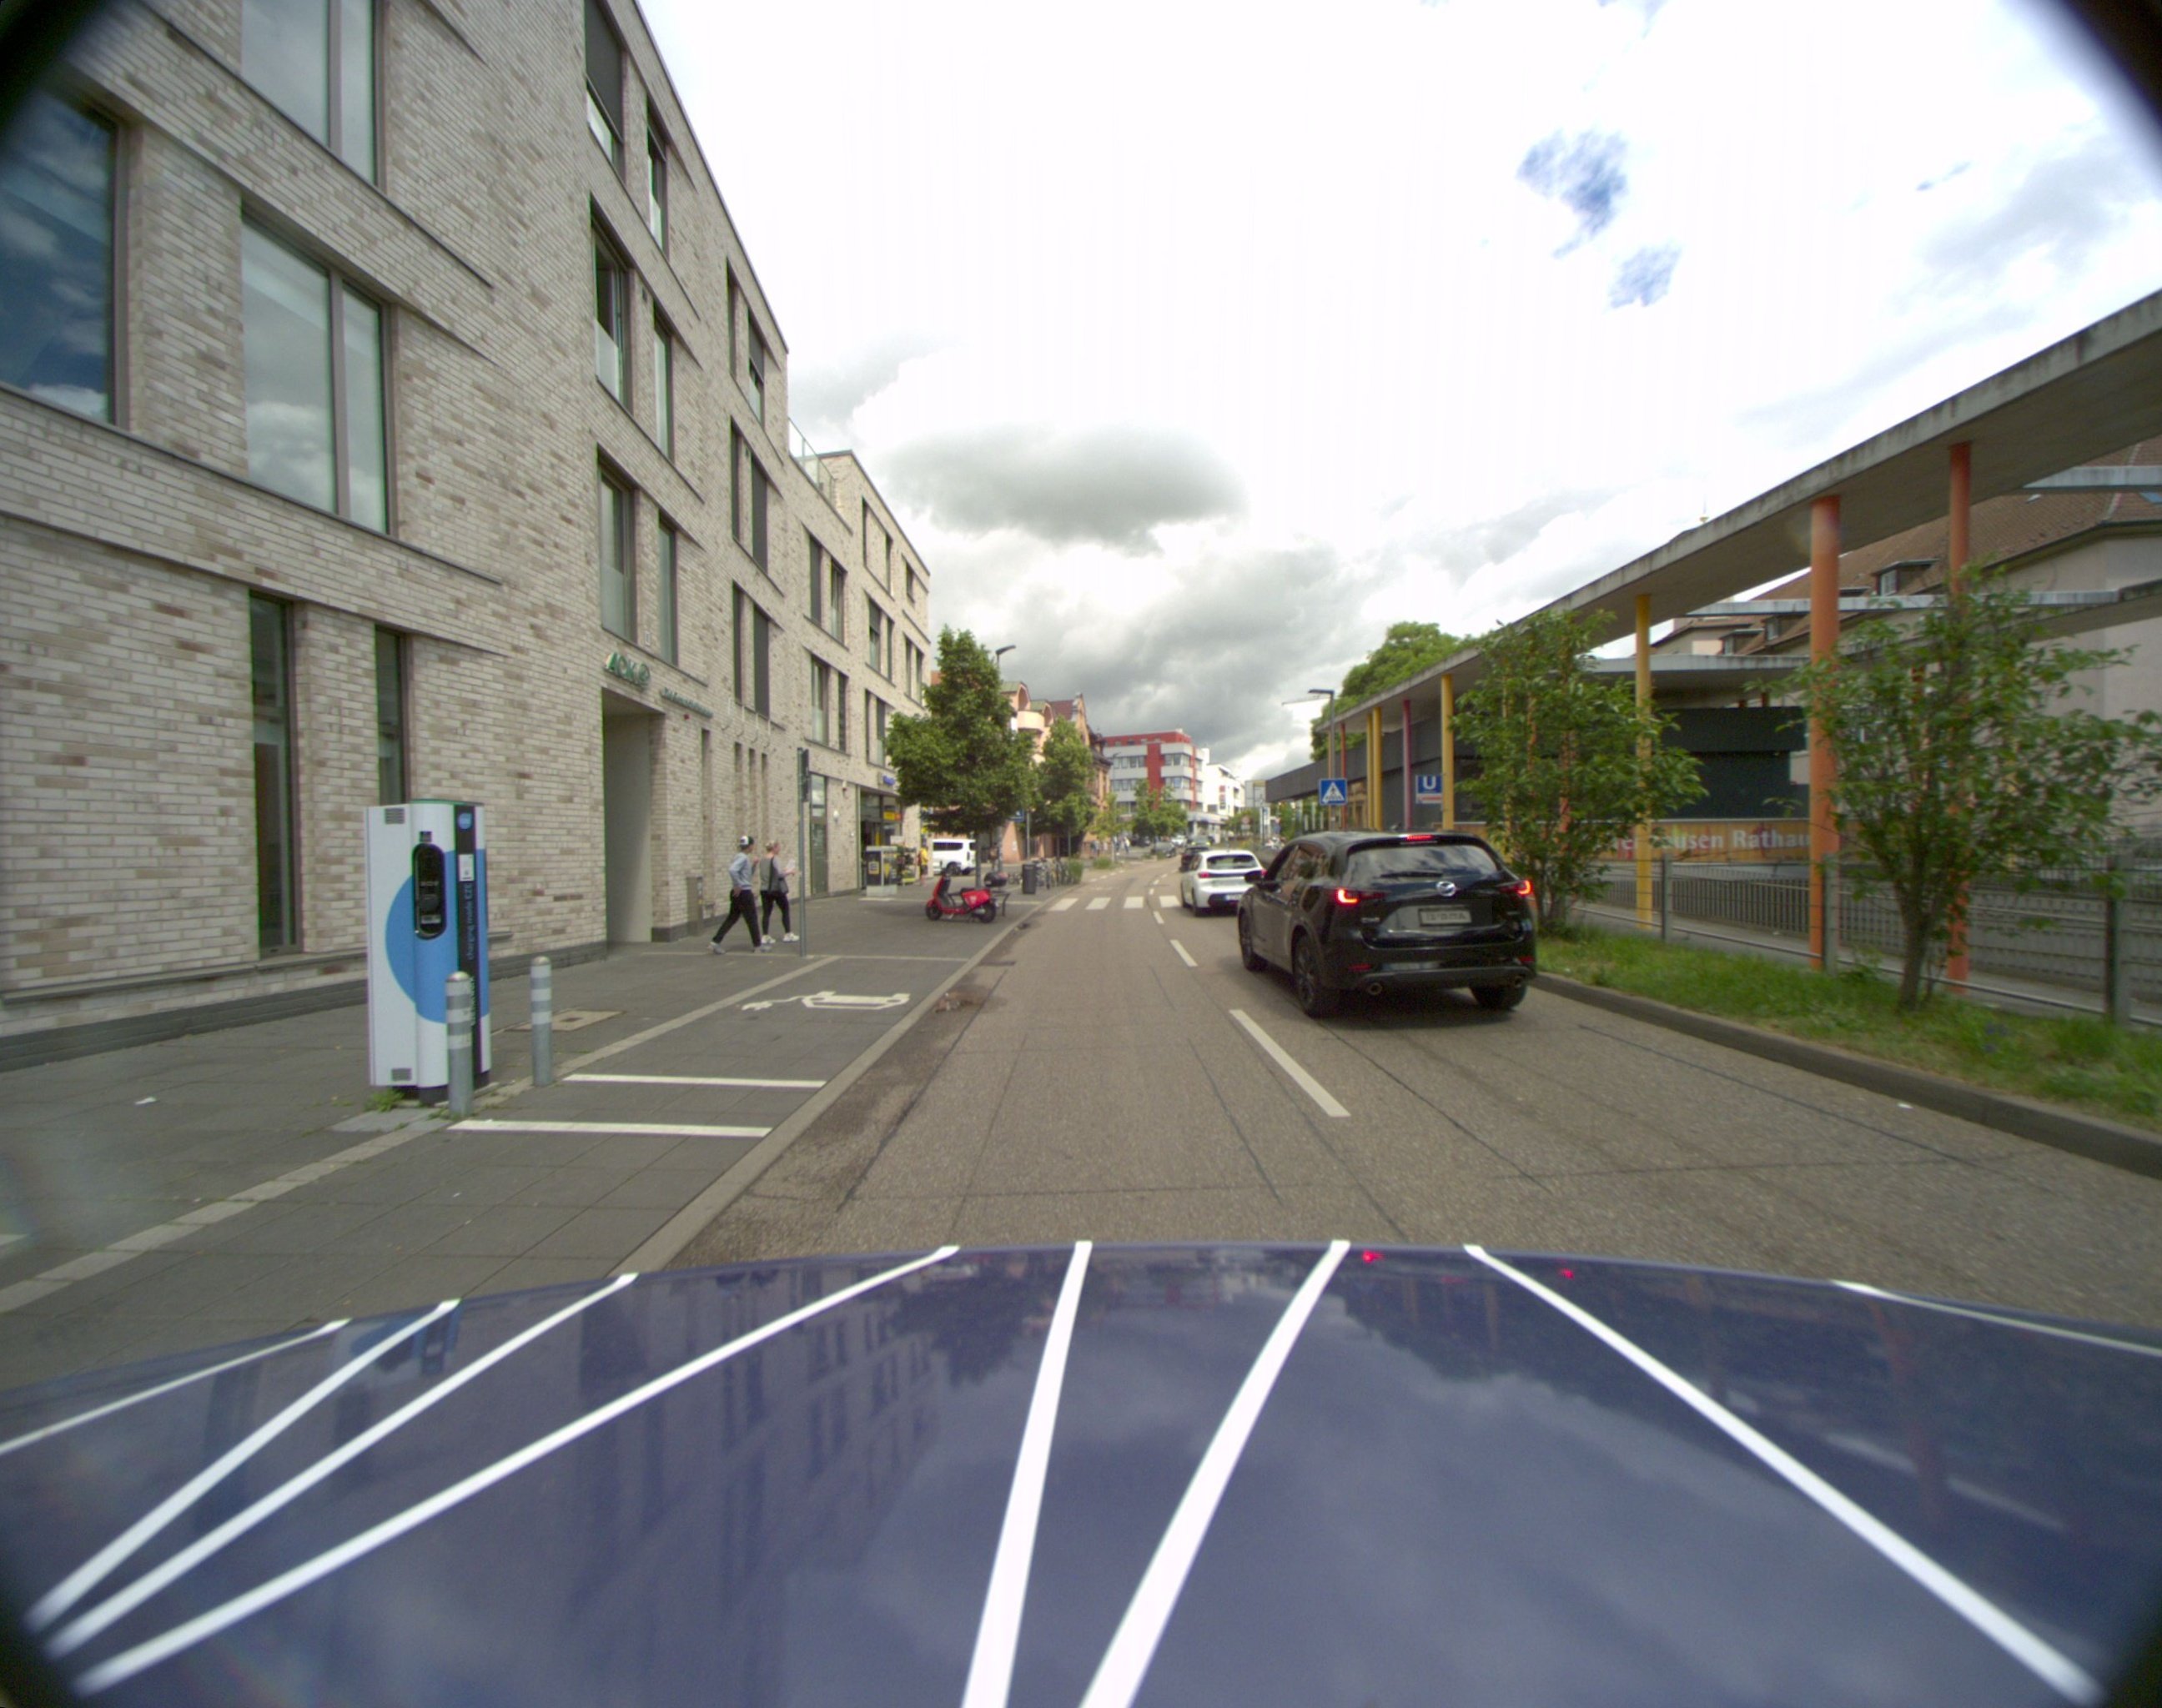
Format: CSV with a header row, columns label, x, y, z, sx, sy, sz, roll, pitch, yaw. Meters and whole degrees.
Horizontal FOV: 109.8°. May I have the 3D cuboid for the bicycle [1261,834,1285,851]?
label,x,y,z,sx,sy,sz,roll,pitch,yaw
bicycle,12.851,-0.782,50.789,1.548,1.121,0.534,0,2,15

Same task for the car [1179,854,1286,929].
label,x,y,z,sx,sy,sz,roll,pitch,yaw
car,3.409,0.781,17.823,1.816,1.460,3.907,-2,1,2

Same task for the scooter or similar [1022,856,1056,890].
label,x,y,z,sx,sy,sz,roll,pitch,yaw
scooter or similar,-1.562,0.700,28.326,1.198,1.243,0.494,1,2,8

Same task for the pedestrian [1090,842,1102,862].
label,x,y,z,sx,sy,sz,roll,pitch,yaw
pedestrian,1.228,-0.185,63.369,0.745,1.630,0.928,2,2,14

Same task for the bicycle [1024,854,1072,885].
label,x,y,z,sx,sy,sz,roll,pitch,yaw
bicycle,-1.339,0.621,31.081,1.826,1.194,0.756,1,2,8

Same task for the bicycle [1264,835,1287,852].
label,x,y,z,sx,sy,sz,roll,pitch,yaw
bicycle,13.421,-0.725,52.451,1.548,1.121,0.534,0,2,15

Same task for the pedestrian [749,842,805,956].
label,x,y,z,sx,sy,sz,roll,pitch,yaw
pedestrian,-4.927,0.699,12.309,0.736,1.757,0.756,-1,3,-29

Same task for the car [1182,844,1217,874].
label,x,y,z,sx,sy,sz,roll,pitch,yaw
car,6.380,0.251,41.172,1.775,1.455,4.236,-2,1,8

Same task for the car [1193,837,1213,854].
label,x,y,z,sx,sy,sz,roll,pitch,yaw
car,12.455,-0.921,77.382,1.802,1.572,4.002,-2,2,11

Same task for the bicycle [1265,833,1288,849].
label,x,y,z,sx,sy,sz,roll,pitch,yaw
bicycle,13.723,-0.896,53.270,1.548,1.121,0.534,0,2,15

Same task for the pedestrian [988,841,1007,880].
label,x,y,z,sx,sy,sz,roll,pitch,yaw
pedestrian,-3.791,0.270,34.609,0.659,1.732,1.018,0,2,7

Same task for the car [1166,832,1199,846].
label,x,y,z,sx,sy,sz,roll,pitch,yaw
car,13.222,-1.953,98.891,4.006,1.653,1.839,-4,3,-37

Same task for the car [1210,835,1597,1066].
label,x,y,z,sx,sy,sz,roll,pitch,yaw
car,2.721,0.674,7.782,1.924,1.595,4.625,-2,1,-1

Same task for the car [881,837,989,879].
label,x,y,z,sx,sy,sz,roll,pitch,yaw
car,-8.003,0.213,41.848,5.387,2.002,2.001,-2,1,7

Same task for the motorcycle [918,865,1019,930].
label,x,y,z,sx,sy,sz,roll,pitch,yaw
motorcycle,-2.415,0.906,16.303,2.052,1.259,0.673,2,2,19

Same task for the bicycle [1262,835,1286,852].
label,x,y,z,sx,sy,sz,roll,pitch,yaw
bicycle,13.180,-0.697,51.796,1.548,1.121,0.534,0,2,15

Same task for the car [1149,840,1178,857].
label,x,y,z,sx,sy,sz,roll,pitch,yaw
car,7.652,-0.522,70.047,1.996,1.406,4.740,0,2,15

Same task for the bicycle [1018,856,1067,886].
label,x,y,z,sx,sy,sz,roll,pitch,yaw
bicycle,-1.523,0.682,30.269,1.826,1.125,0.756,1,2,8

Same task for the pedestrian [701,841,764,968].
label,x,y,z,sx,sy,sz,roll,pitch,yaw
pedestrian,-5.039,0.697,10.986,0.739,1.757,0.622,-1,3,-31

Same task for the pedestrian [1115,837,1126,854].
label,x,y,z,sx,sy,sz,roll,pitch,yaw
pedestrian,3.908,-0.878,75.208,0.738,1.631,0.677,0,4,40

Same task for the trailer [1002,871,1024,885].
label,x,y,z,sx,sy,sz,roll,pitch,yaw
trailer,-2.811,0.980,31.443,0.721,0.525,0.812,-1,2,11

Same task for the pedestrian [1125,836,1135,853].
label,x,y,z,sx,sy,sz,roll,pitch,yaw
pedestrian,4.806,-0.923,75.144,0.696,1.649,0.741,-1,3,26

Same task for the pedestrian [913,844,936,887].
label,x,y,z,sx,sy,sz,roll,pitch,yaw
pedestrian,-6.215,0.445,30.190,0.658,1.683,0.633,1,2,42
